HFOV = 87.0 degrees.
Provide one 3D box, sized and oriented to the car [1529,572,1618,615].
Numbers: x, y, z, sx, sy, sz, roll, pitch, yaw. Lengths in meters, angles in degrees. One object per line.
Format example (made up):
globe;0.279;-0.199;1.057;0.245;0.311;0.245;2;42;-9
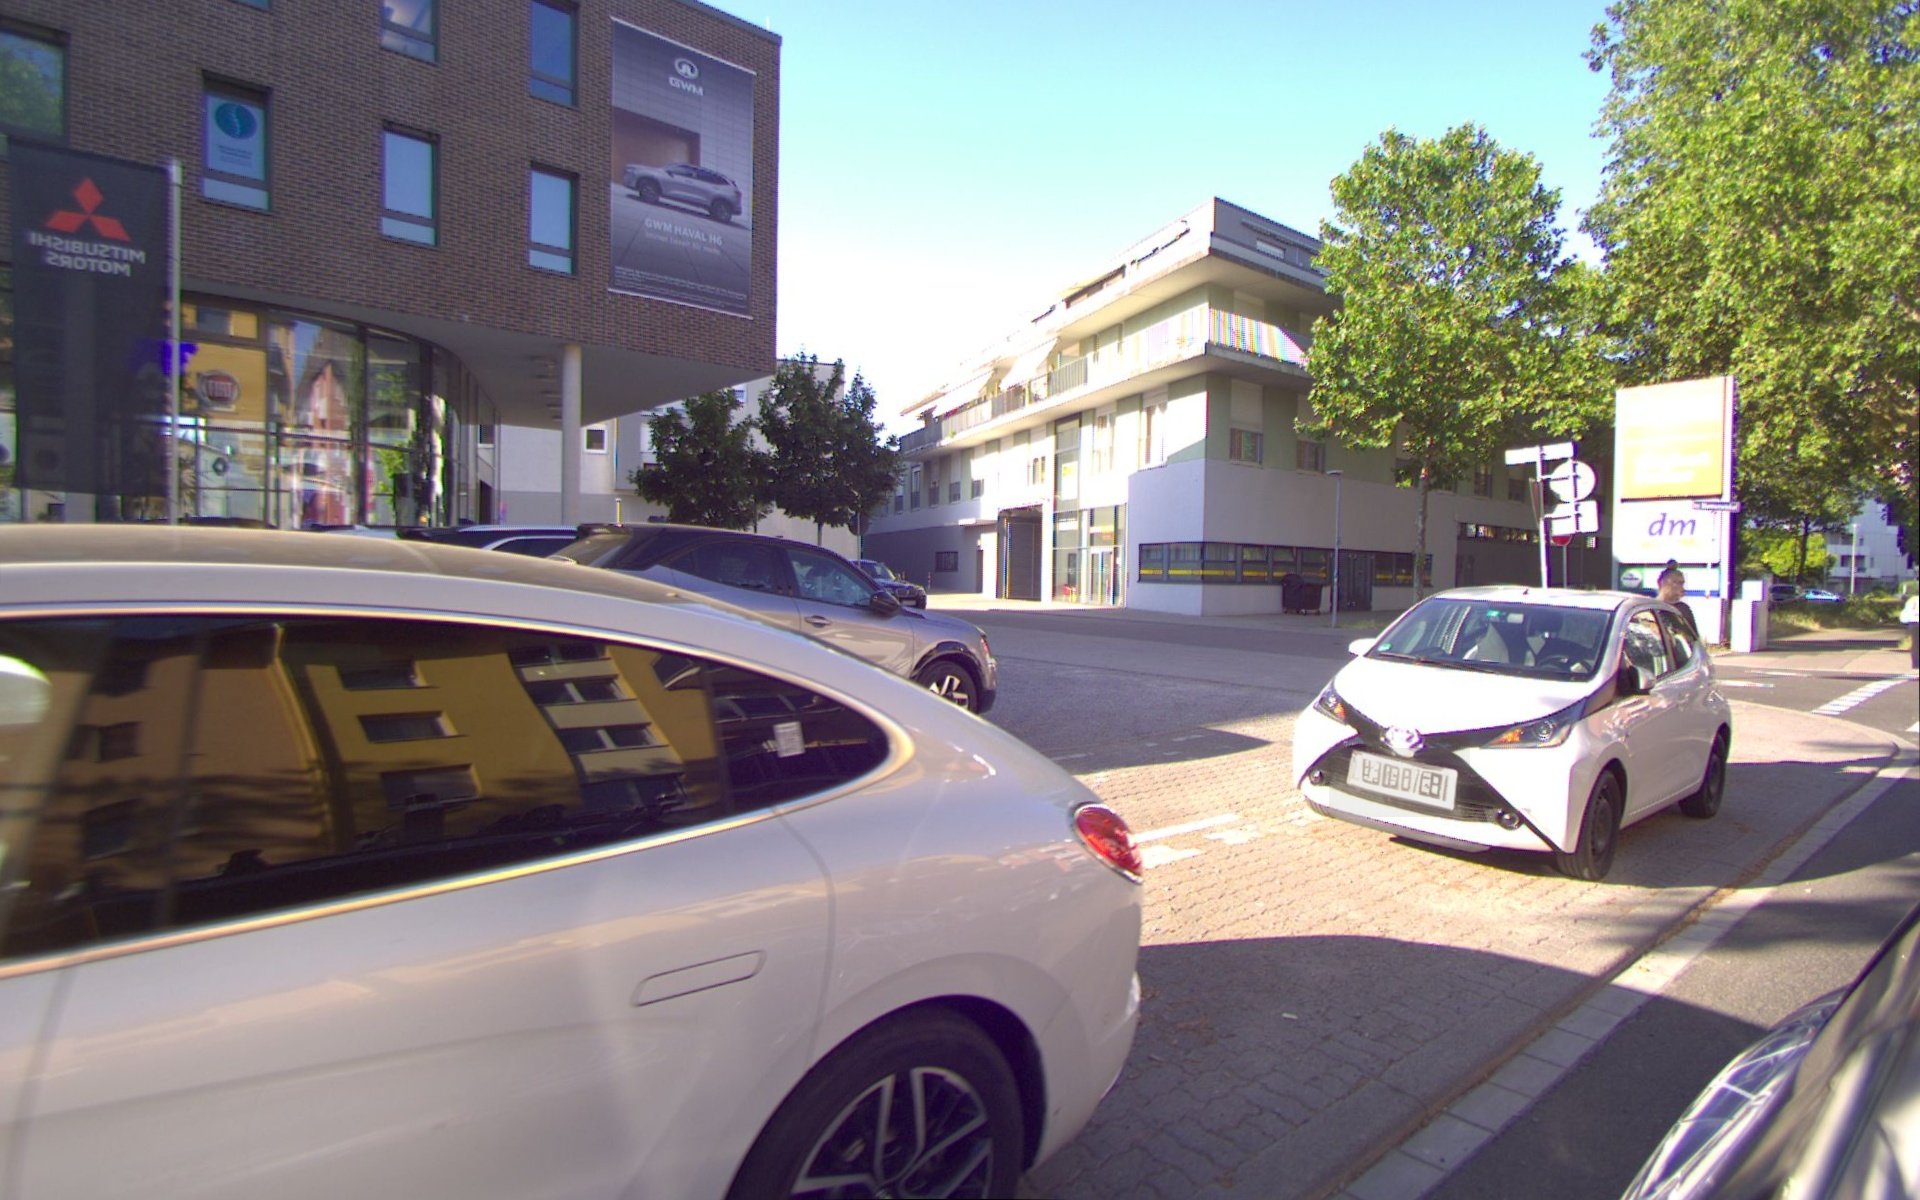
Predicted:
car;24.328;-0.277;40.099;3.692;1.572;1.863;0;2;-39

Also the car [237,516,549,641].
car;-9.011;-0.350;16.229;4.106;1.755;1.990;0;2;-39

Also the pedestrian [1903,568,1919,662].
pedestrian;18.576;0.298;19.295;0.768;1.782;0.653;4;4;43

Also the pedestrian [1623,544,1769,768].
pedestrian;6.049;0.425;8.362;0.711;1.744;0.691;1;2;15

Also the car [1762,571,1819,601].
car;51.477;-0.867;62.713;4.242;1.793;1.909;0;2;-39

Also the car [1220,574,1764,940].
car;3.462;0.626;6.246;3.952;1.485;1.638;-2;4;-42

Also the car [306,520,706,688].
car;-5.367;-0.010;12.285;4.109;1.705;1.729;-1;2;-43

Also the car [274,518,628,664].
car;-7.030;-0.158;14.221;4.109;1.755;1.878;-1;2;-43

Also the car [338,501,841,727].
car;-3.468;0.058;9.983;4.294;1.753;1.828;-1;2;-43

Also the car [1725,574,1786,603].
car;45.232;-0.666;57.507;4.242;1.562;1.863;0;2;-39

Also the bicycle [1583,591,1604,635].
bicycle;15.693;0.303;25.059;0.381;1.016;1.468;2;2;33

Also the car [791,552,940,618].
car;-2.792;-0.468;29.154;1.995;1.683;4.491;0;3;-42

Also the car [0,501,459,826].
car;-5.226;0.231;6.217;3.767;1.564;1.654;2;2;17

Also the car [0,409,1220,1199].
car;-1.755;0.525;1.536;4.501;1.557;1.815;-1;5;-40

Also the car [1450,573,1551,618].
car;19.152;-0.183;35.794;4.052;1.486;1.862;-1;2;-41

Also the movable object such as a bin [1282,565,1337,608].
movable object such as a bin;12.384;-0.478;35.897;1.378;1.481;1.199;0;2;-28

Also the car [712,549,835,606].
car;-6.224;-0.778;33.465;1.995;1.683;4.492;0;3;-41

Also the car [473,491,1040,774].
car;-1.436;0.145;8.039;4.085;1.690;1.756;0;2;-41
